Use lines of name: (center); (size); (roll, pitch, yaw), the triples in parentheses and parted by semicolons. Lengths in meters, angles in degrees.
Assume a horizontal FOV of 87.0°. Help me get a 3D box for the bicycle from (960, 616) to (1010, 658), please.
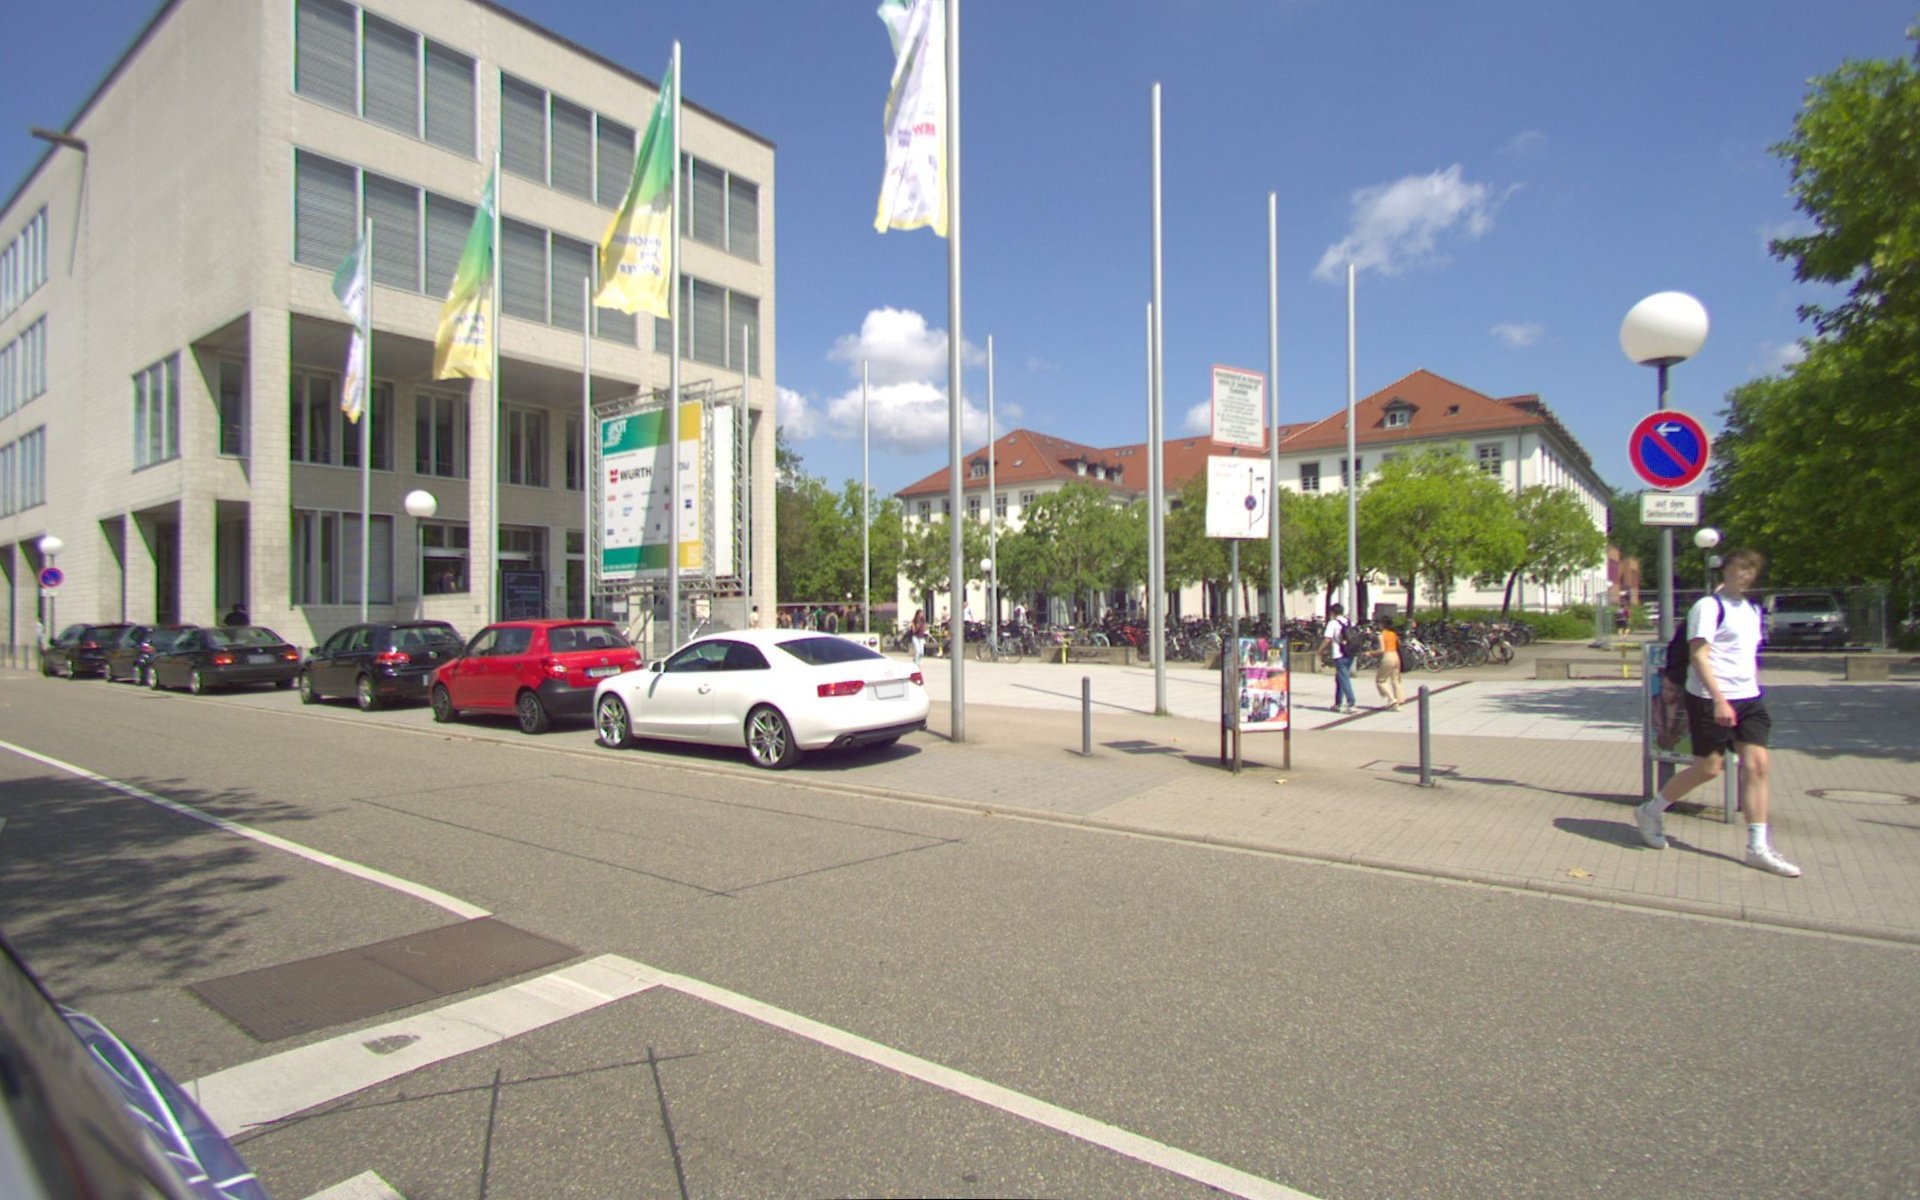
bicycle: (0.932, 1.294, 36.284); (1.137, 1.422, 2.937); (-1, -1, 15)

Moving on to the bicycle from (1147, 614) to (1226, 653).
bicycle: (8.789, 1.288, 39.403); (1.049, 1.422, 2.955); (0, -1, -41)

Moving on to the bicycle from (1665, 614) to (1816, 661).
bicycle: (20.027, 0.959, 26.088); (2.940, 1.156, 0.991); (-1, -1, 31)

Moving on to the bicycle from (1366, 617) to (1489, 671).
bicycle: (13.052, 1.205, 28.324); (2.951, 1.422, 1.003); (-1, -1, 43)

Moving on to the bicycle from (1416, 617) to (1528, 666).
bicycle: (15.941, 1.273, 31.583); (2.951, 1.422, 1.051); (-1, -1, 43)

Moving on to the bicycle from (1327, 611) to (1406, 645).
bicycle: (17.659, 1.205, 44.016); (2.946, 1.422, 1.199); (-1, -1, 37)

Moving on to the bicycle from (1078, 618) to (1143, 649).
bicycle: (7.129, 1.565, 48.094); (1.131, 1.422, 2.953); (0, -1, -44)

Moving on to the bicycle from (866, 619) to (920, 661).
bicycle: (-2.435, 1.441, 37.304); (1.137, 1.422, 2.937); (-1, -1, 15)

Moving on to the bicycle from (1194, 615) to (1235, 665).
bicycle: (7.853, 1.195, 31.160); (1.137, 1.422, 2.937); (-1, -1, 15)

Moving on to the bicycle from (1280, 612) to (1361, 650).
bicycle: (14.277, 1.208, 40.155); (1.048, 1.422, 2.959); (0, -1, -34)

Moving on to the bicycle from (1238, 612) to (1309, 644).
bicycle: (14.256, 1.267, 46.065); (1.050, 1.422, 2.953); (0, -1, -44)

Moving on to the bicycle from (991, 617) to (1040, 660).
bicycle: (1.967, 1.327, 35.451); (1.137, 1.422, 2.937); (-1, -1, 15)

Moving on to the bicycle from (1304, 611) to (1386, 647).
bicycle: (15.628, 1.182, 41.109); (2.946, 1.422, 1.052); (-1, -1, 37)

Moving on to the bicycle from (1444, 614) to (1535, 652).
bicycle: (20.533, 1.275, 39.281); (2.951, 1.422, 1.051); (-1, -1, 43)

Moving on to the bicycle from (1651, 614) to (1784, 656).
bicycle: (21.836, 1.010, 29.276); (2.939, 1.158, 0.991); (-1, -1, 30)

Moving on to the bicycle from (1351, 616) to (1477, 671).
bicycle: (12.316, 1.155, 27.551); (2.951, 1.422, 1.003); (-1, -1, 43)

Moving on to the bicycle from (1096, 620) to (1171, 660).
bicycle: (6.494, 1.481, 38.138); (1.128, 1.422, 2.960); (0, -1, -31)

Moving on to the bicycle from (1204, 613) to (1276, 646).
bicycle: (12.356, 1.284, 44.746); (1.050, 1.422, 2.953); (0, -1, -44)

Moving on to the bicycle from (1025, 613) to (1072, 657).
bicycle: (3.078, 1.189, 34.760); (1.137, 1.422, 2.937); (-1, -1, 15)

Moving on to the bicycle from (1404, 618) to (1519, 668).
bicycle: (15.199, 1.277, 30.747); (2.951, 1.422, 1.051); (-1, -1, 43)

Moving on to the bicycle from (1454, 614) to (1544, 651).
bicycle: (21.358, 1.270, 40.158); (2.951, 1.422, 1.051); (-1, -1, 43)

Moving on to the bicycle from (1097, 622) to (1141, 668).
bicycle: (5.293, 1.456, 33.544); (1.137, 1.422, 2.937); (-1, -1, 15)

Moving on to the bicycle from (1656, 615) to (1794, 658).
bicycle: (21.250, 1.002, 28.233); (2.940, 1.146, 0.991); (-1, -1, 31)

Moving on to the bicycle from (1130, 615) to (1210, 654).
bicycle: (7.984, 1.294, 38.650); (1.049, 1.422, 2.955); (0, -1, -41)

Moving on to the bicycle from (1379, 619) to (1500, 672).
bicycle: (13.754, 1.284, 29.100); (2.951, 1.422, 1.051); (-1, -1, 43)

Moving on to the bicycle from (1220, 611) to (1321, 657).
bicycle: (9.960, 1.073, 32.568); (1.050, 1.422, 2.953); (0, -1, -44)

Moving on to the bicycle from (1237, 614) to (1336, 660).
bicycle: (10.751, 1.201, 33.399); (1.050, 1.422, 2.953); (0, -1, -44)

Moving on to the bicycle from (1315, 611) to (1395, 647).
bicycle: (16.523, 1.207, 42.358); (2.946, 1.422, 1.052); (-1, -1, 37)

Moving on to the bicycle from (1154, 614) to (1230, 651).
bicycle: (9.350, 1.294, 40.913); (1.049, 1.422, 2.955); (0, -1, -41)

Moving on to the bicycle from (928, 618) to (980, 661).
bicycle: (-0.196, 1.400, 36.599); (1.137, 1.422, 2.937); (-1, -1, 15)

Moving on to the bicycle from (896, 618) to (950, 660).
bicycle: (-1.314, 1.392, 36.956); (1.137, 1.422, 2.937); (-1, -1, 15)

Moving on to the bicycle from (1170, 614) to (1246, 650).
bicycle: (10.179, 1.289, 41.684); (1.049, 1.422, 2.955); (0, -1, -41)

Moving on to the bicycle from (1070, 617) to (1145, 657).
bicycle: (5.447, 1.339, 37.523); (1.128, 1.422, 2.960); (0, -1, -31)

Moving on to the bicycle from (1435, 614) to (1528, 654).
bicycle: (19.771, 1.278, 38.392); (2.951, 1.422, 1.051); (-1, -1, 43)

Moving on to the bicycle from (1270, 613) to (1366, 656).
bicycle: (12.349, 1.171, 34.974); (1.050, 1.422, 2.953); (0, -1, -44)

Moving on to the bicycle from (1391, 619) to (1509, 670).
bicycle: (14.469, 1.280, 29.932); (2.951, 1.422, 1.051); (-1, -1, 43)

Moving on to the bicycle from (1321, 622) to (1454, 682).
bicycle: (10.929, 1.294, 25.972); (2.951, 1.430, 1.003); (-1, -1, 43)

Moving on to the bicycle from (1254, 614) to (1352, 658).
bicycle: (11.547, 1.197, 34.183); (1.050, 1.422, 2.953); (0, -1, -44)

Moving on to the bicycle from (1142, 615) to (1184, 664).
bicycle: (6.450, 1.215, 31.998); (1.137, 1.422, 2.937); (-1, -1, 15)

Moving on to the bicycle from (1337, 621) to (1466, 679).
bicycle: (11.627, 1.292, 26.758); (2.951, 1.427, 1.003); (-1, -1, 43)

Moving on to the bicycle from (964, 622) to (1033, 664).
bicycle: (1.152, 1.292, 30.608); (2.091, 1.225, 0.643); (-1, -1, 38)

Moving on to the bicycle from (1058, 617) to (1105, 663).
bicycle: (4.093, 1.307, 33.842); (1.137, 1.422, 2.937); (-1, -1, 15)

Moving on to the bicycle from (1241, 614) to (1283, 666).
bicycle: (8.760, 1.132, 29.462); (1.055, 1.422, 2.937); (-1, -1, 15)
